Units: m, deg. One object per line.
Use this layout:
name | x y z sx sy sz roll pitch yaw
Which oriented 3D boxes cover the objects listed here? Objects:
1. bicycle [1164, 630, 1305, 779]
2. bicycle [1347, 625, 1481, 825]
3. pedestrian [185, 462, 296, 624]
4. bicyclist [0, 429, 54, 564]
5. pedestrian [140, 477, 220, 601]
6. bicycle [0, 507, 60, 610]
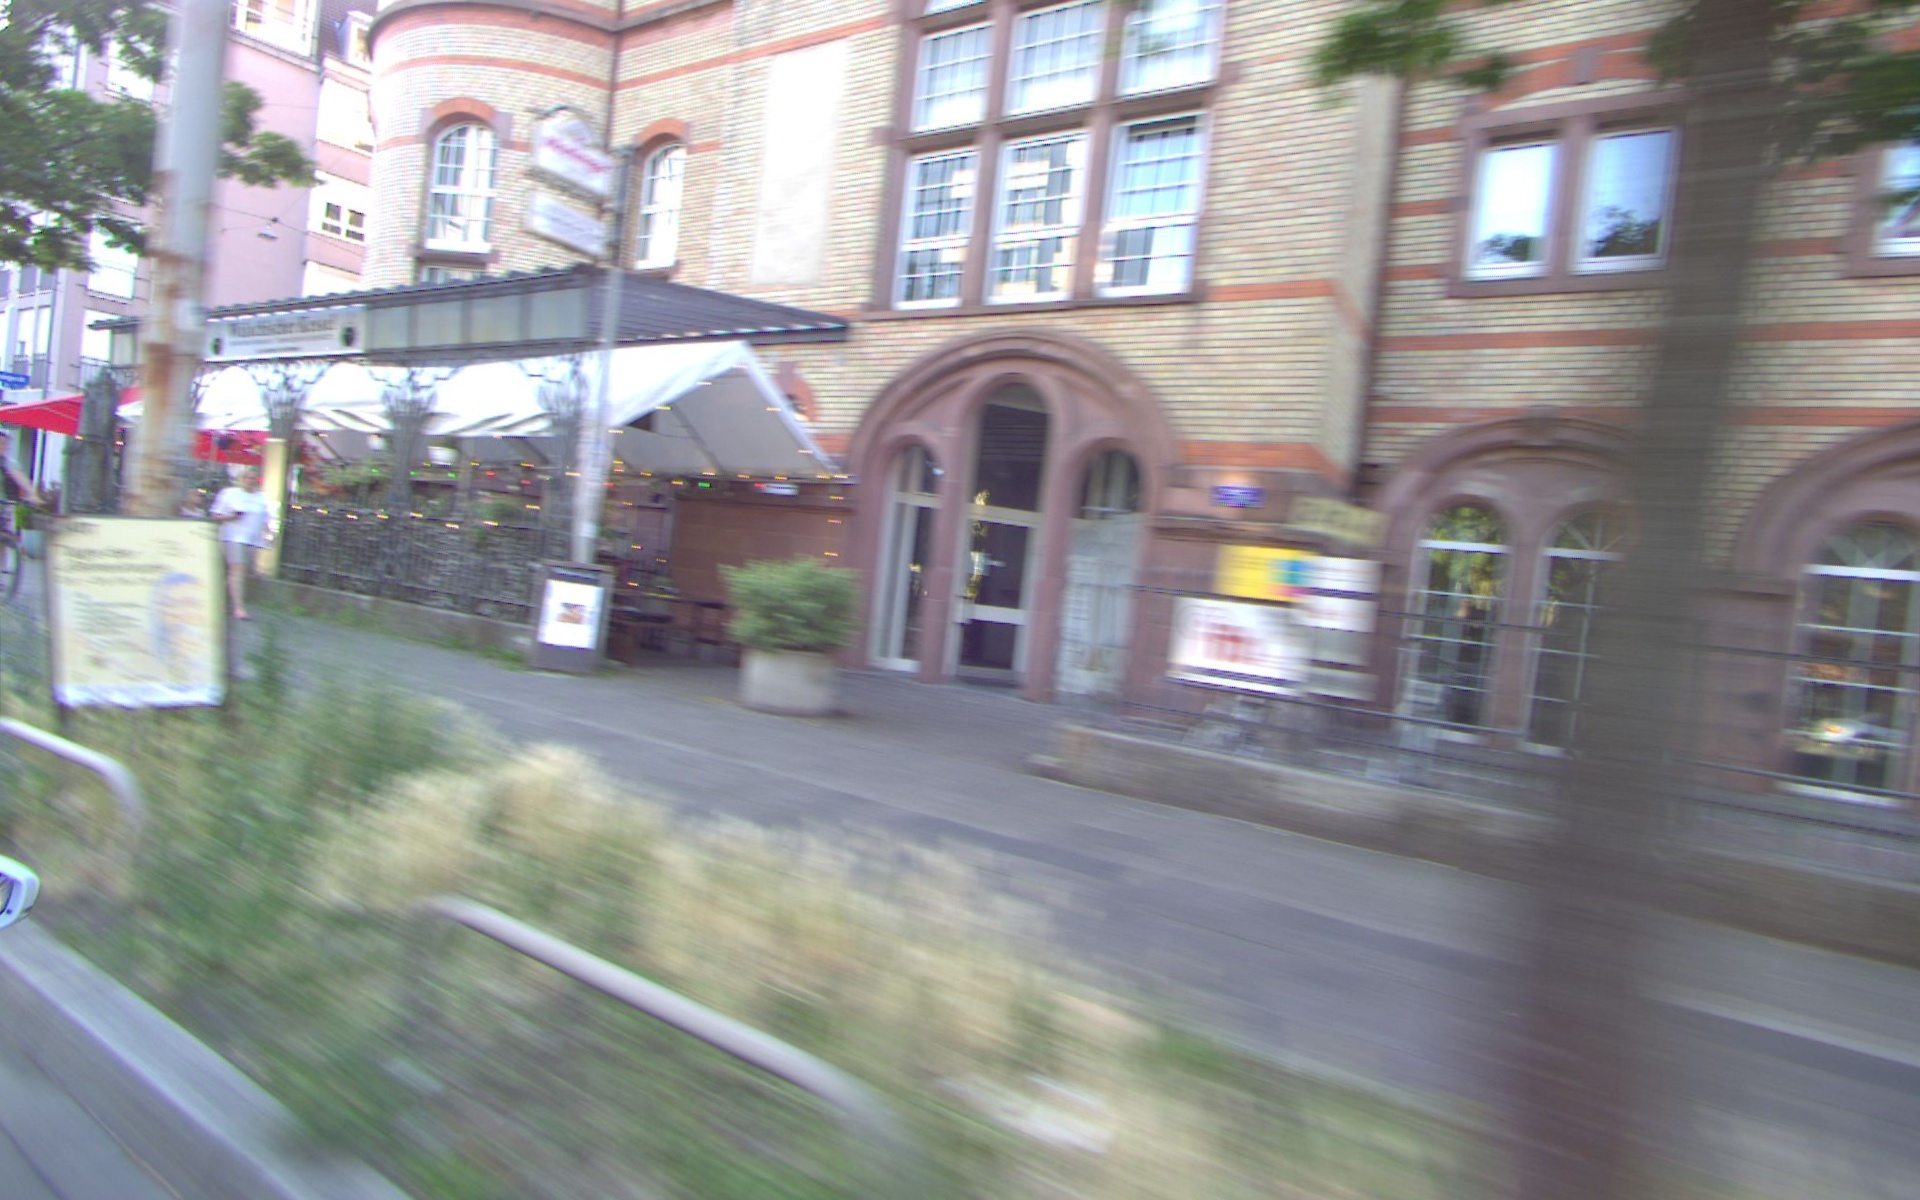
bicycle | 2.104 0.776 7.580 0.526 0.957 1.447 7 -1 32
bicycle | 3.151 0.826 6.891 0.485 1.151 1.736 7 -1 32
pedestrian | -7.896 -0.619 11.046 0.645 1.653 0.645 7 0 32
bicyclist | -9.643 -1.055 9.987 1.093 1.251 0.586 7 0 31
pedestrian | -9.178 -0.718 11.840 0.521 1.367 0.467 7 0 32
bicycle | -9.691 -0.478 9.961 1.954 0.908 0.580 7 0 32
